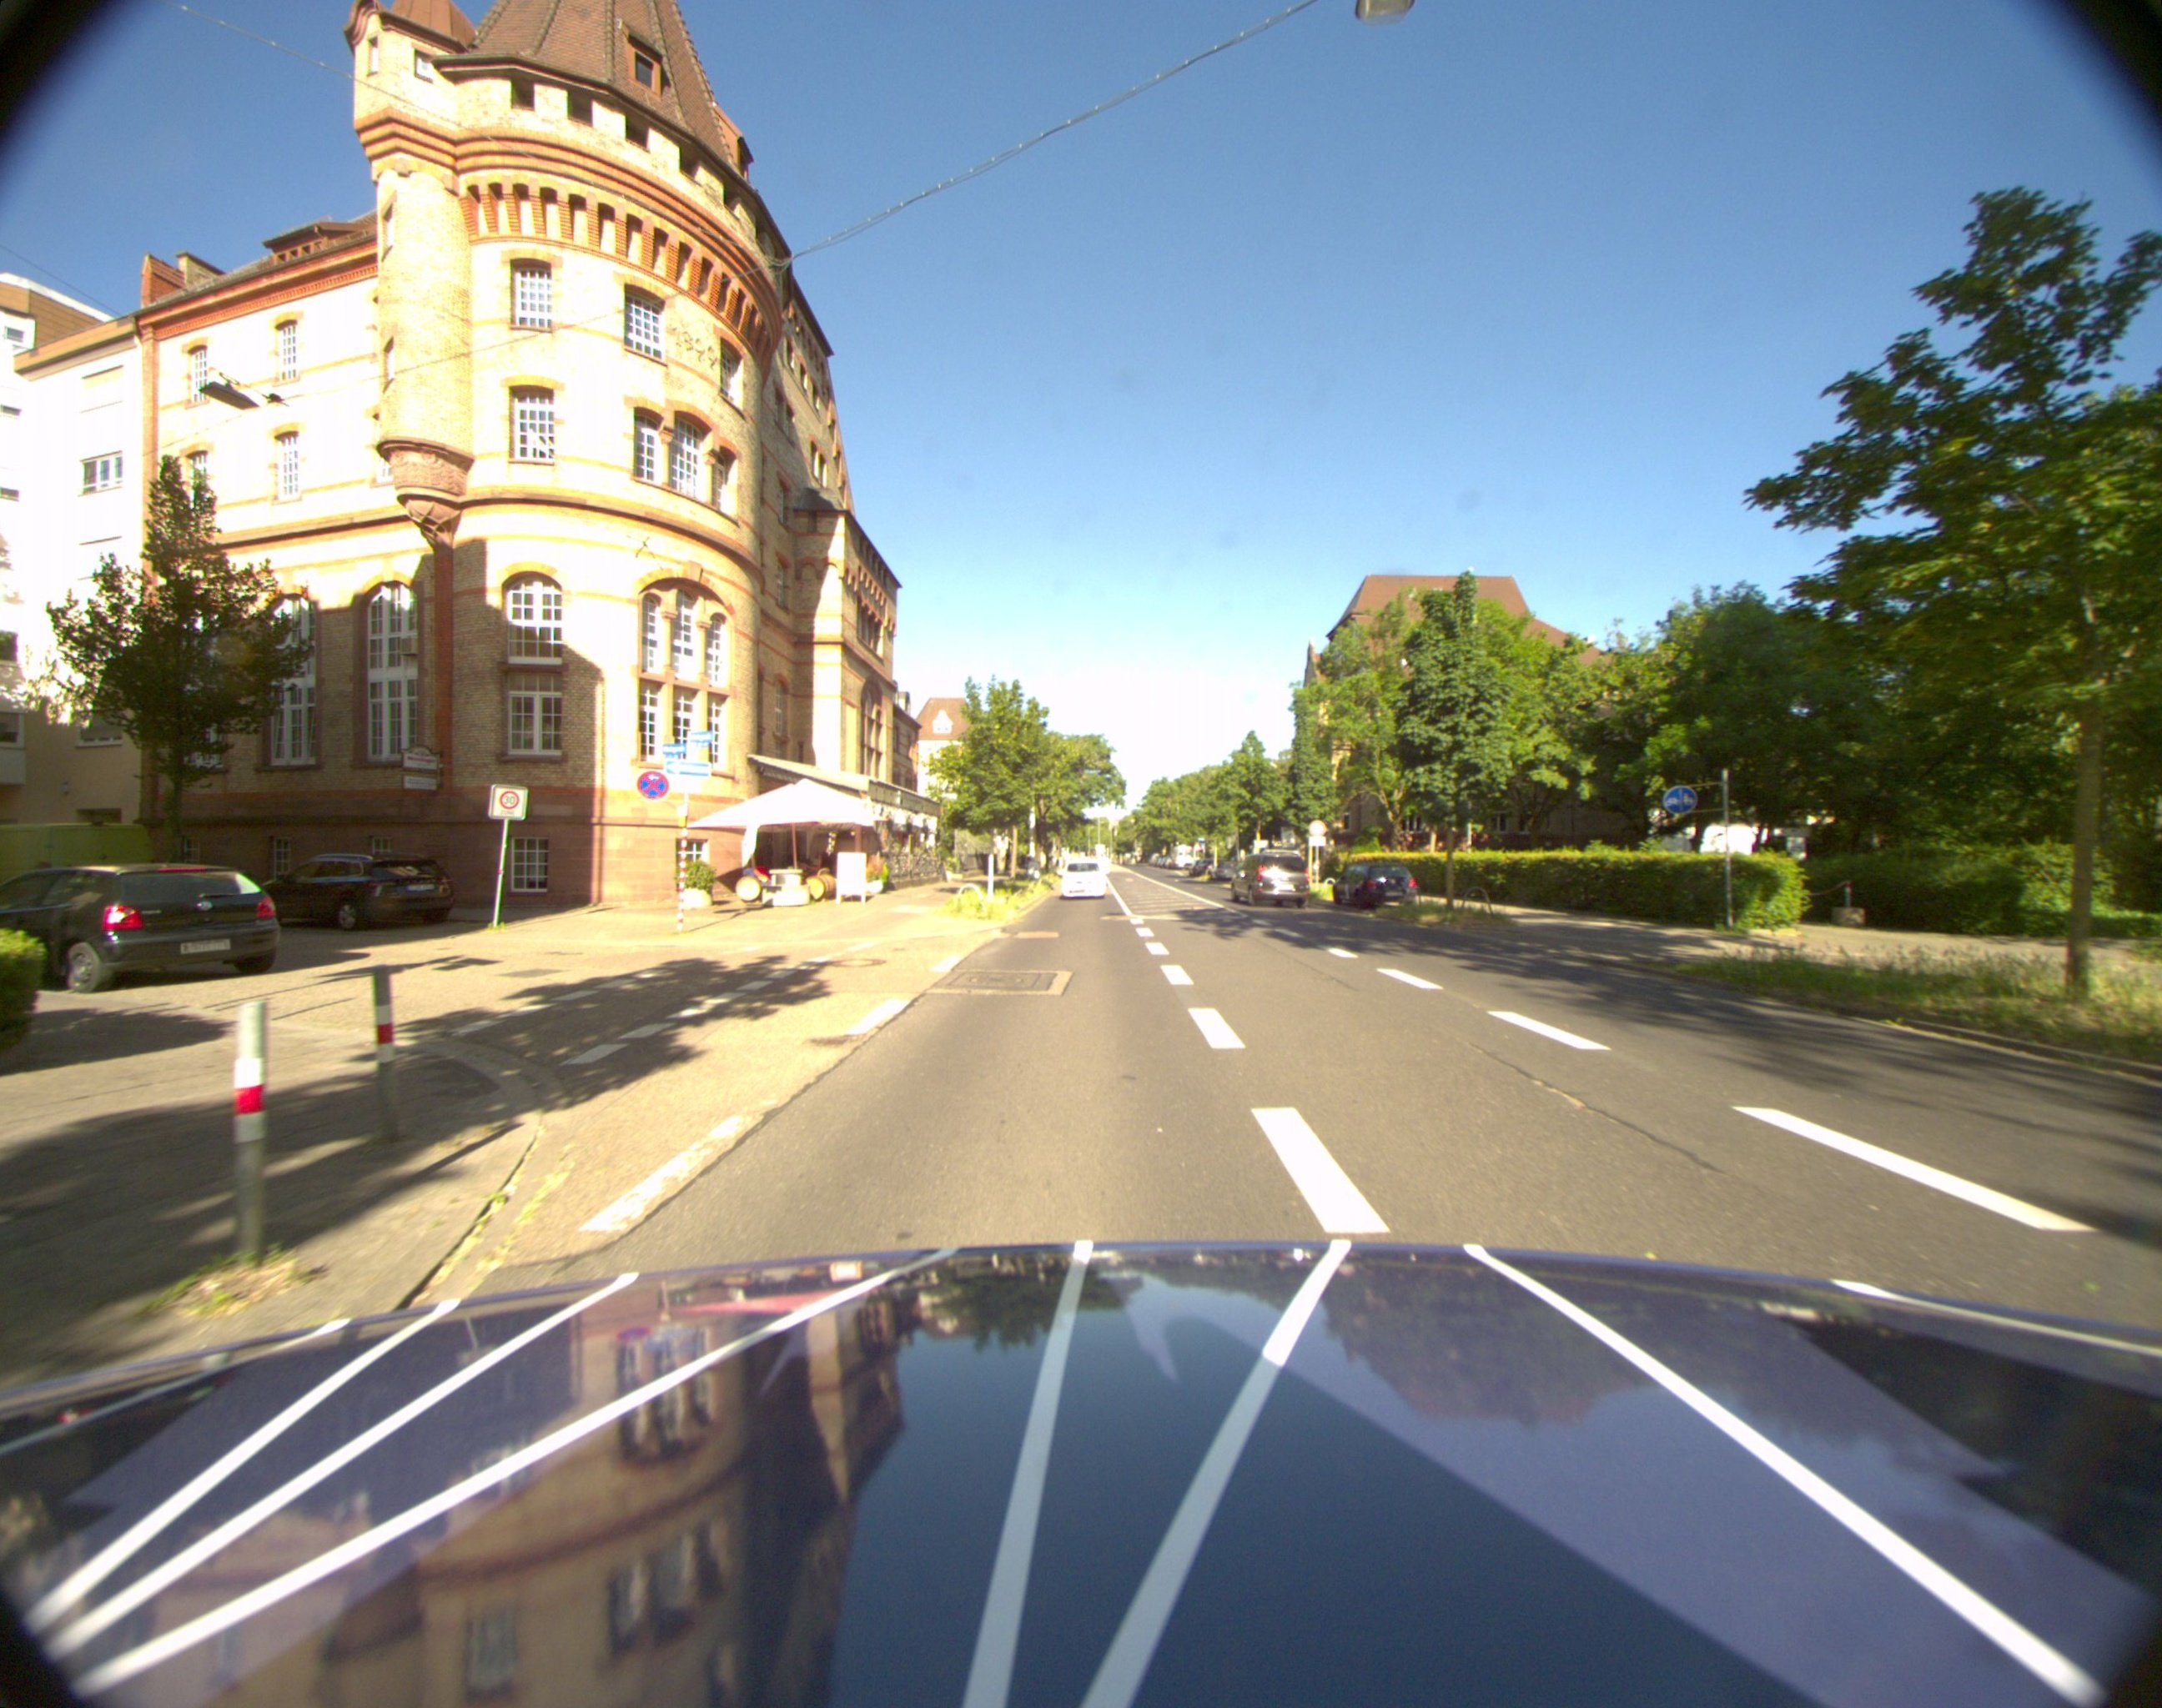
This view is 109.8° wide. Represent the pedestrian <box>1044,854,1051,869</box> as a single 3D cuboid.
[{"bbox_3d":[-4.254,0.960,97.067,0.749,1.777,0.811,3,1,1],"label":"pedestrian"}]

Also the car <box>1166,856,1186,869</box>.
[{"bbox_3d":[11.438,0.995,92.003,1.698,1.448,4.663,2,0,-1],"label":"car"}]

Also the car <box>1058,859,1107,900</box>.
[{"bbox_3d":[0.123,0.953,29.672,1.652,1.449,3.898,0,0,3],"label":"car"}]

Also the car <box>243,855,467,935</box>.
[{"bbox_3d":[-16.011,0.837,16.806,3.948,1.515,1.797,1,3,17],"label":"car"}]

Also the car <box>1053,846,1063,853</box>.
[{"bbox_3d":[-4.726,-0.937,155.477,1.847,1.432,4.105,3,0,-3],"label":"car"}]

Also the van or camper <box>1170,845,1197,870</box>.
[{"bbox_3d":[11.603,0.357,86.486,2.222,2.723,6.088,0,0,1],"label":"van or camper"}]

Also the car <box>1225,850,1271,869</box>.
[{"bbox_3d":[16.490,0.546,74.894,4.150,1.660,1.996,-2,-1,-32],"label":"car"}]

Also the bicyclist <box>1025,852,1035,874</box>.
[{"bbox_3d":[-3.721,0.657,55.588,0.702,1.590,0.955,0,1,-1],"label":"bicyclist"}]

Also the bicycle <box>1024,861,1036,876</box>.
[{"bbox_3d":[-3.713,1.058,55.608,0.687,1.022,2.095,0,1,0],"label":"bicycle"}]

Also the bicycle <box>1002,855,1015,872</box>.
[{"bbox_3d":[-5.218,0.714,54.980,0.654,1.169,1.843,4,0,2],"label":"bicycle"}]

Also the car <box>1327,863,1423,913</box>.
[{"bbox_3d":[9.491,1.053,24.868,1.716,1.450,4.072,-1,0,2],"label":"car"}]

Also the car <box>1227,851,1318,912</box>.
[{"bbox_3d":[6.335,0.847,25.698,1.860,1.814,4.609,2,0,0],"label":"car"}]

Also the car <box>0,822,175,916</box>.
[{"bbox_3d":[-26.997,0.381,19.996,4.797,2.289,2.139,-1,0,14],"label":"car"}]

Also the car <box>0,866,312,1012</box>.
[{"bbox_3d":[-12.327,0.953,9.607,3.949,1.514,1.863,-1,1,14],"label":"car"}]

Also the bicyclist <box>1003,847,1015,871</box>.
[{"bbox_3d":[-5.198,0.369,54.945,0.647,1.685,0.889,4,0,2],"label":"bicyclist"}]

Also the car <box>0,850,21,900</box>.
[{"bbox_3d":[-33.083,0.674,21.867,3.890,1.449,1.656,-2,0,14],"label":"car"}]

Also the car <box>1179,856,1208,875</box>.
[{"bbox_3d":[9.709,0.950,65.686,1.860,1.419,4.720,-3,0,2],"label":"car"}]

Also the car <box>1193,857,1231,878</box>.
[{"bbox_3d":[10.221,1.023,59.627,1.861,1.485,4.704,-3,0,-4],"label":"car"}]

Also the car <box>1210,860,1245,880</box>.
[{"bbox_3d":[9.972,1.092,51.904,1.682,1.248,4.015,-1,0,1],"label":"car"}]
